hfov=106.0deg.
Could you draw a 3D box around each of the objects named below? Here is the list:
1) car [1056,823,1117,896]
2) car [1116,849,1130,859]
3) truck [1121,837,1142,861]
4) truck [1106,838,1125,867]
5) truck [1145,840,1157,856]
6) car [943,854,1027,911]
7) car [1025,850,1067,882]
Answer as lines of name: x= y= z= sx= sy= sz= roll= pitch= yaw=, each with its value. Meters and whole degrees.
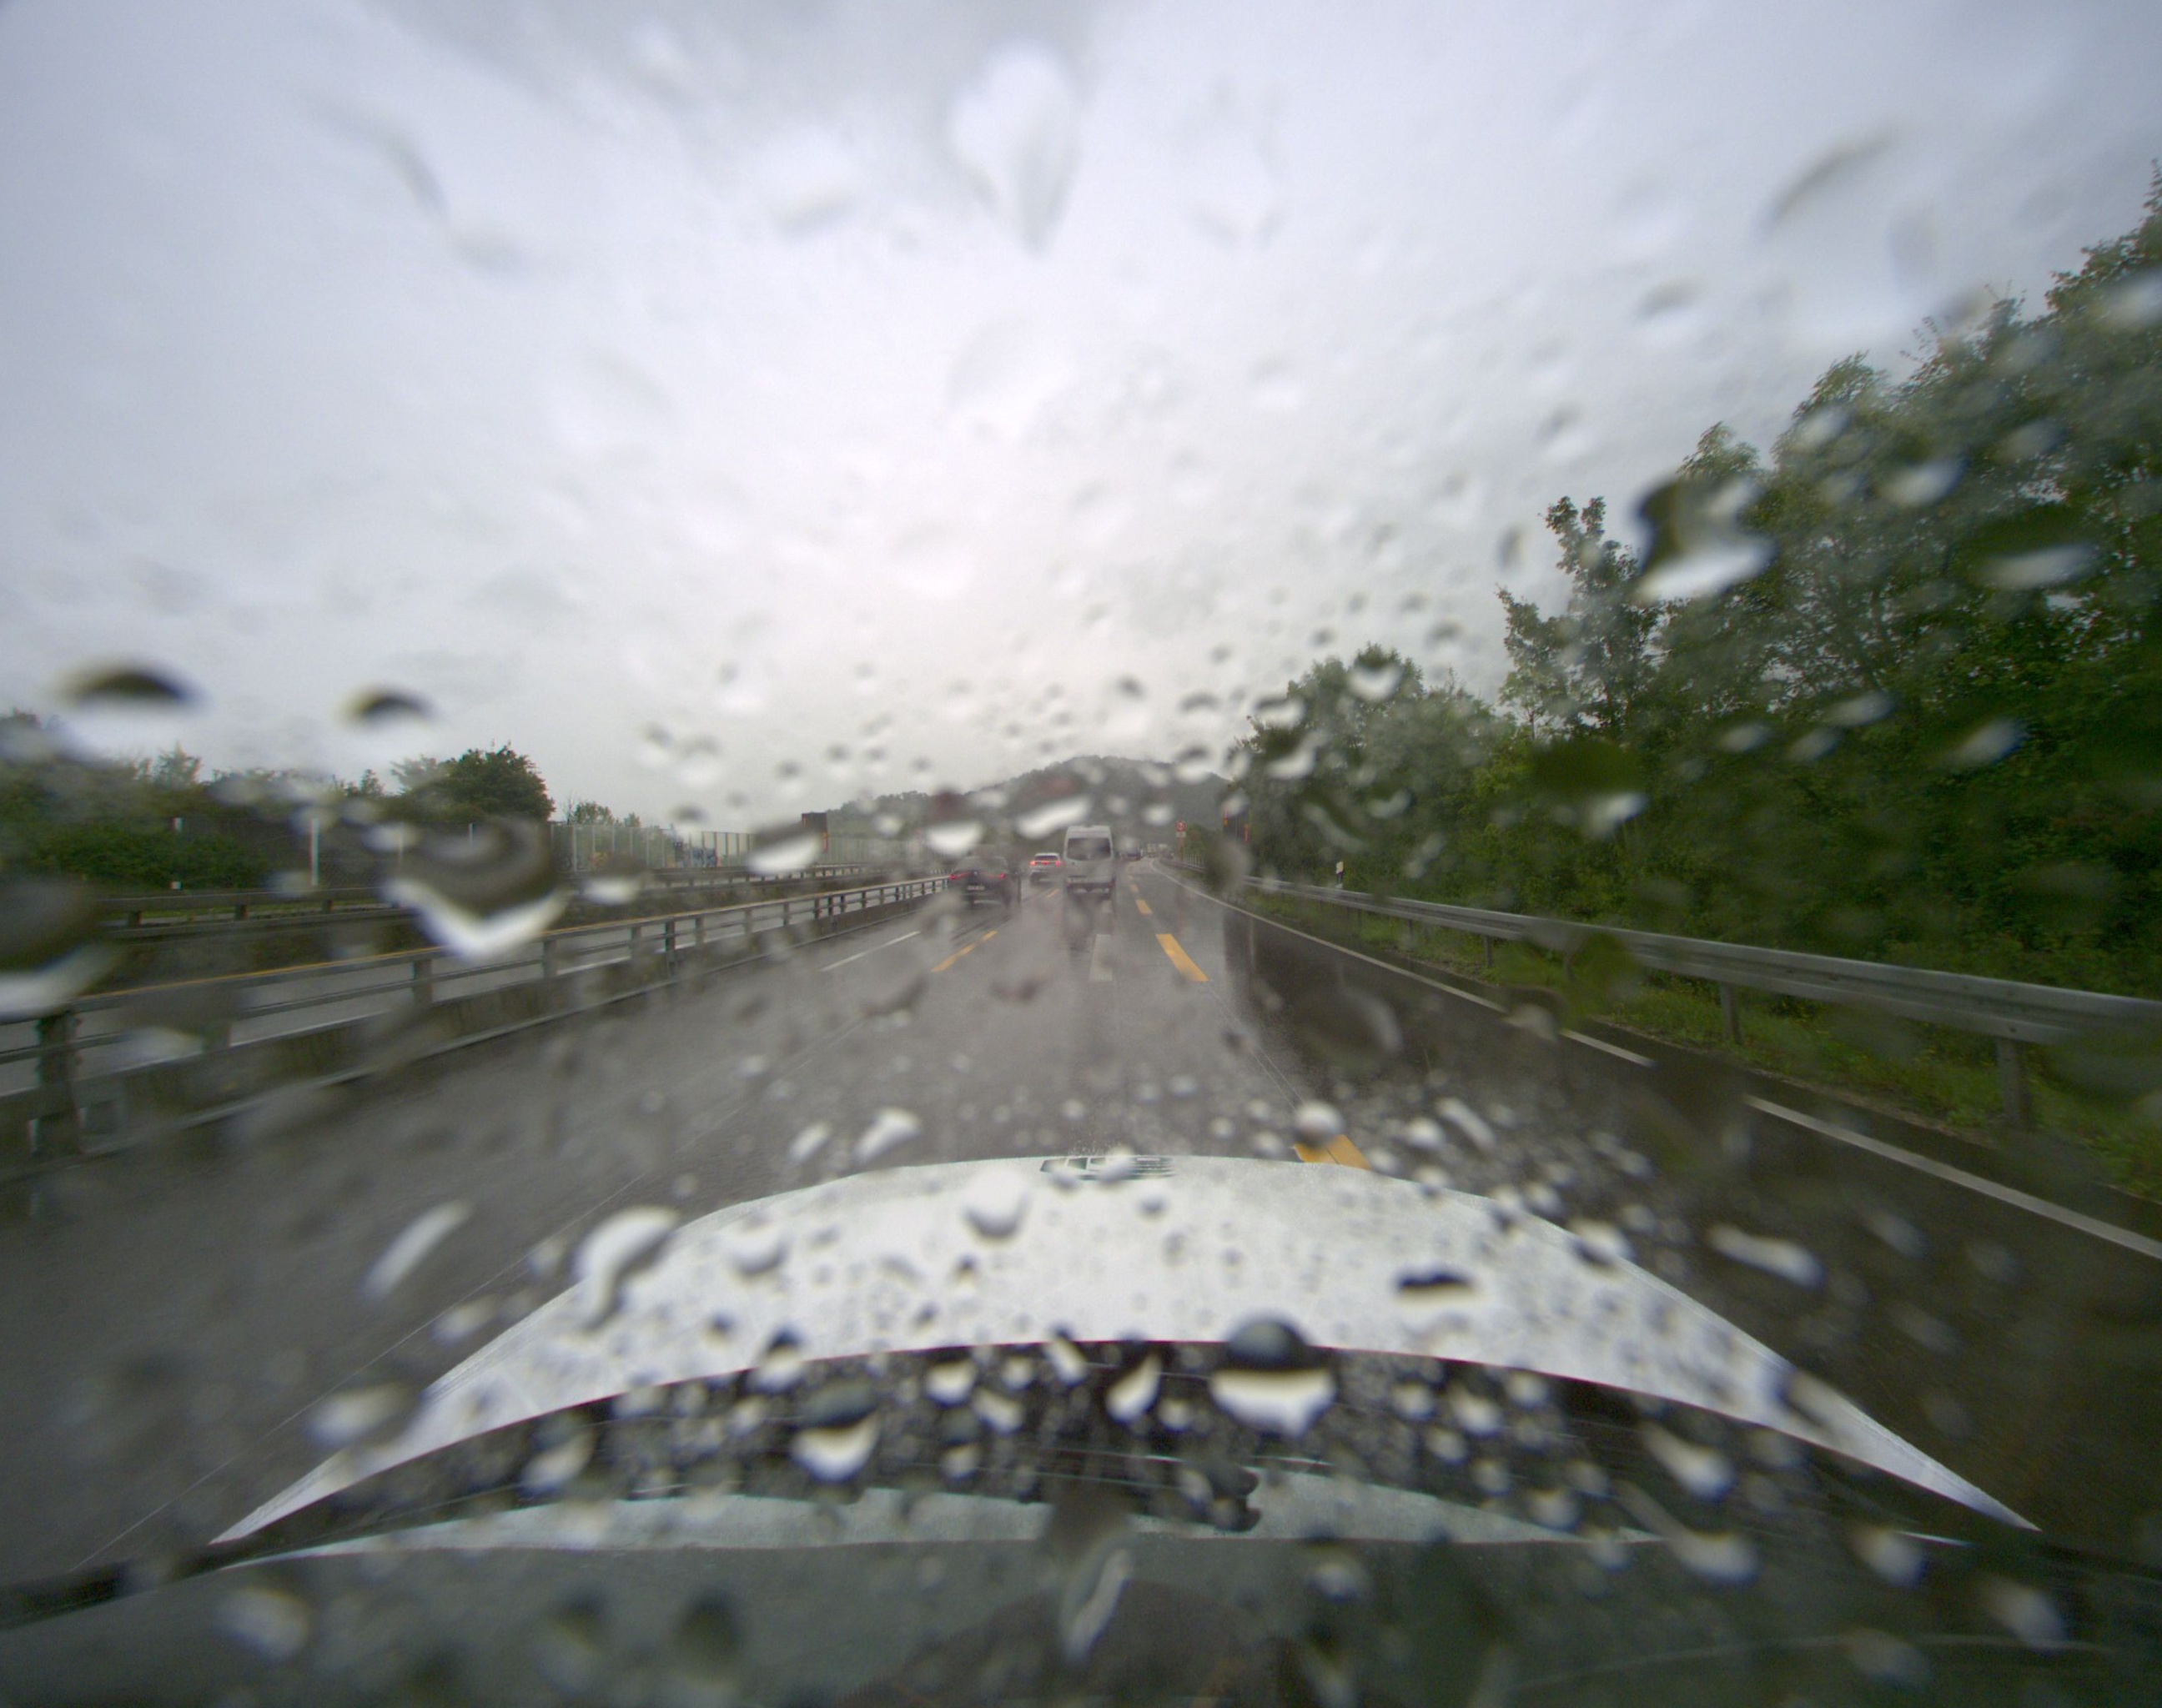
car: x=0.308 y=0.208 z=31.629 sx=2.136 sy=2.571 sz=5.393 roll=-1 pitch=0 yaw=3
car: x=5.947 y=0.004 z=113.848 sx=1.765 sy=1.475 sz=4.006 roll=-1 pitch=0 yaw=5
truck: x=9.591 y=-0.866 z=153.980 sx=3.564 sy=4.406 sz=9.639 roll=-1 pitch=0 yaw=6
truck: x=4.064 y=-0.147 z=94.664 sx=1.985 sy=3.109 sz=8.505 roll=-1 pitch=0 yaw=3
truck: x=20.095 y=-1.726 z=232.289 sx=3.019 sy=4.406 sz=9.644 roll=-1 pitch=0 yaw=7
car: x=-2.897 y=0.821 z=25.495 sx=1.986 sy=1.585 sz=4.415 roll=-1 pitch=0 yaw=1
car: x=-1.870 y=0.627 z=44.731 sx=1.986 sy=1.617 sz=4.797 roll=-1 pitch=0 yaw=1
